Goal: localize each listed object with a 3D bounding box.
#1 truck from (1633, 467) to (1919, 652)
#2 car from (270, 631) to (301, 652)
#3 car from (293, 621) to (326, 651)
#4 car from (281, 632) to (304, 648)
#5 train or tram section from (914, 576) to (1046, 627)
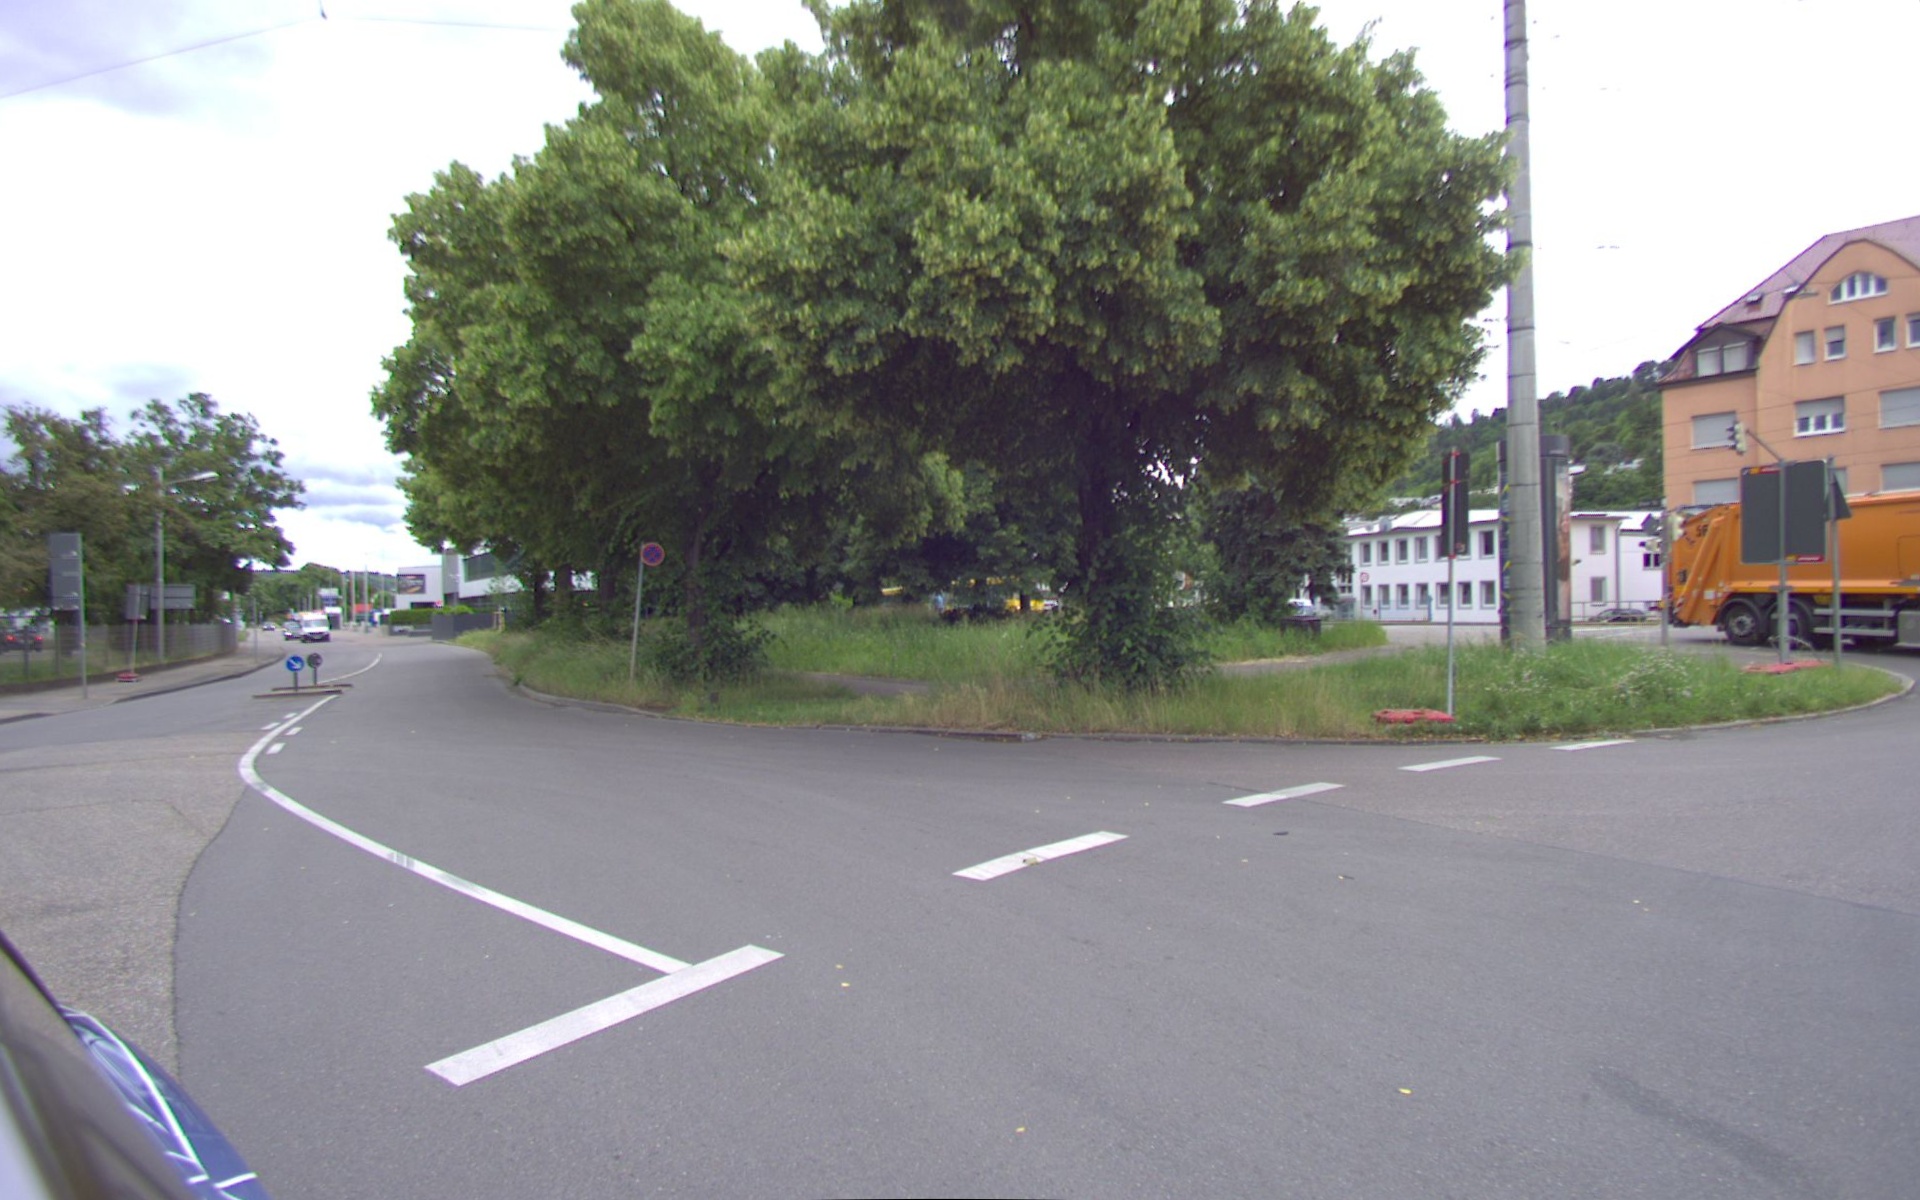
[{"bbox_3d":[19.611,-0.821,21.625,2.755,3.553,10.434,-1,1,-5],"label":"truck"},{"bbox_3d":[-65.371,4.003,98.149,2.349,1.884,5.221,-2,0,-33],"label":"car"},{"bbox_3d":[-57.494,3.159,89.482,2.349,2.477,6.117,-2,0,-33],"label":"car"},{"bbox_3d":[-87.142,5.212,132.206,2.349,1.884,5.221,-2,0,-33],"label":"car"},{"bbox_3d":[1.083,0.260,82.740,3.221,3.693,19.237,-1,-1,-23],"label":"train or tram section"}]
